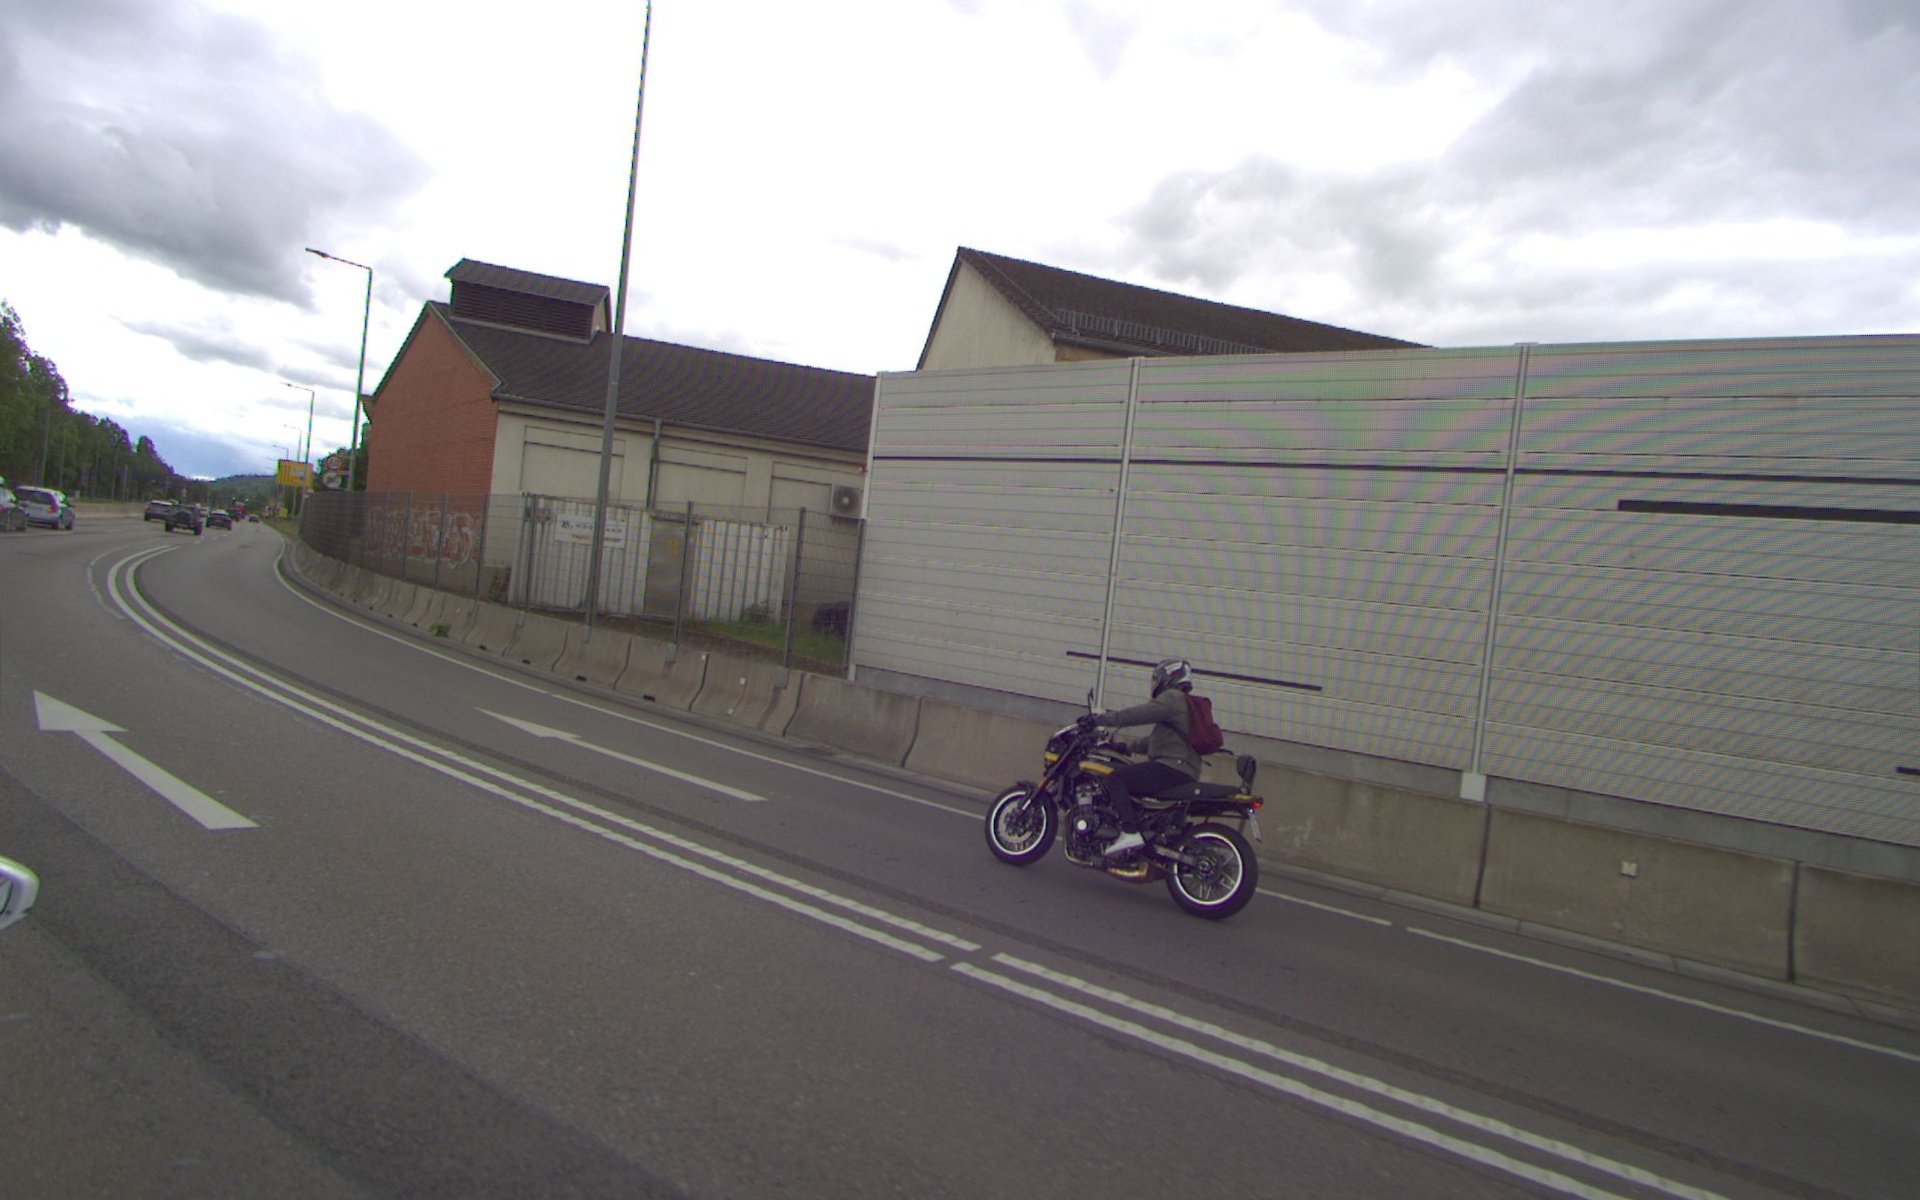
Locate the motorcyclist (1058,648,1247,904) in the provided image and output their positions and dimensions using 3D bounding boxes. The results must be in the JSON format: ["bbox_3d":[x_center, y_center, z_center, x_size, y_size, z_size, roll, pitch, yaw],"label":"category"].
[{"bbox_3d":[1.351,1.146,6.941,0.949,1.495,0.915,7,0,22],"label":"motorcyclist"}]

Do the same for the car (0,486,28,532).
[{"bbox_3d":[-32.639,-3.133,33.493,1.804,1.452,4.024,6,1,-36],"label":"car"}]

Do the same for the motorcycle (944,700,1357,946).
[{"bbox_3d":[1.286,1.443,6.969,2.616,1.097,0.745,7,1,23],"label":"motorcycle"}]

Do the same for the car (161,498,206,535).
[{"bbox_3d":[-47.071,-5.045,61.003,1.984,1.882,3.958,7,0,-38],"label":"car"}]

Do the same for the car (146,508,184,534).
[{"bbox_3d":[-61.899,-6.136,78.381,1.983,1.692,3.962,9,-2,-35],"label":"car"}]

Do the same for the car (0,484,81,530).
[{"bbox_3d":[-37.642,-3.752,41.082,1.908,1.507,4.029,7,0,-33],"label":"car"}]

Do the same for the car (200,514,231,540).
[{"bbox_3d":[-64.319,-6.319,86.938,1.983,1.927,3.960,7,-1,-37],"label":"car"}]
